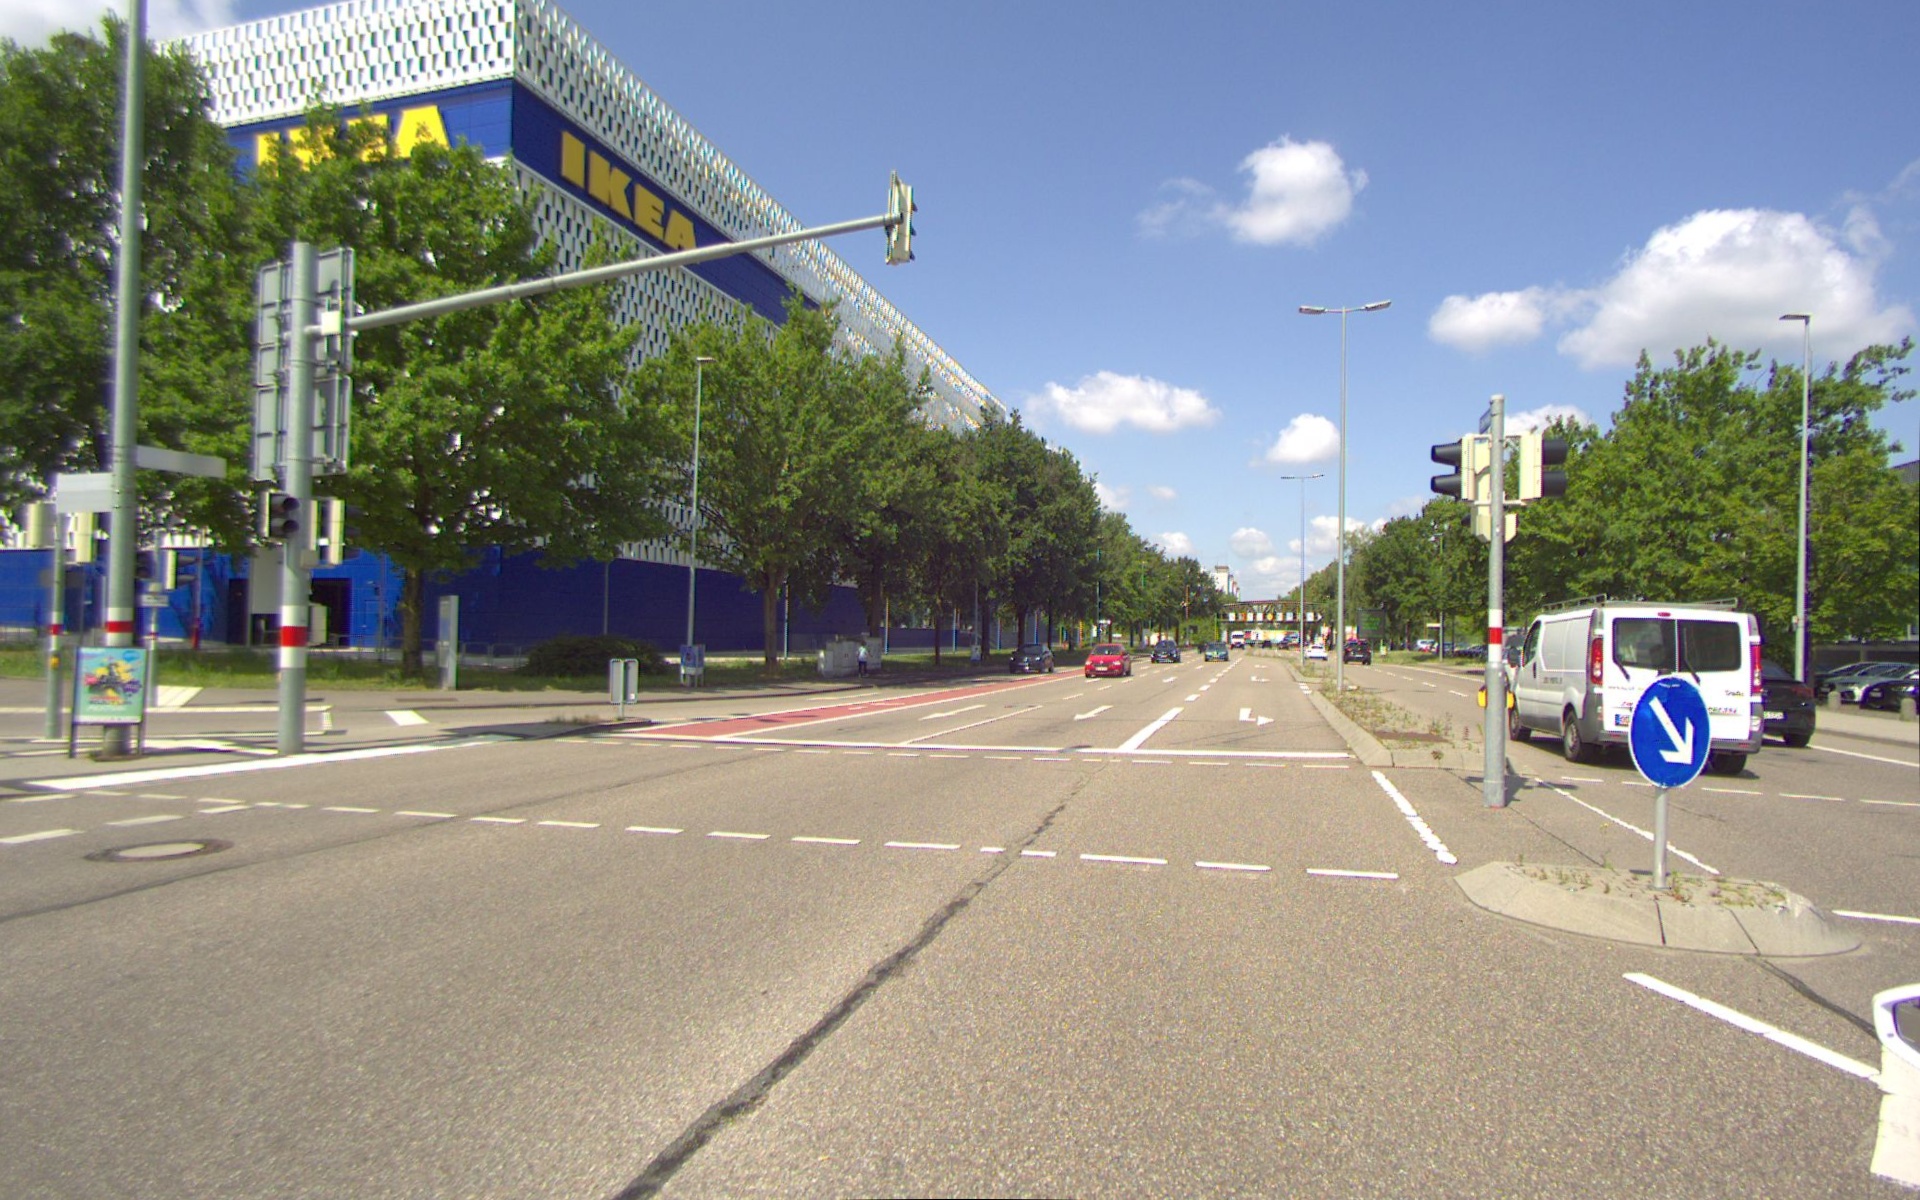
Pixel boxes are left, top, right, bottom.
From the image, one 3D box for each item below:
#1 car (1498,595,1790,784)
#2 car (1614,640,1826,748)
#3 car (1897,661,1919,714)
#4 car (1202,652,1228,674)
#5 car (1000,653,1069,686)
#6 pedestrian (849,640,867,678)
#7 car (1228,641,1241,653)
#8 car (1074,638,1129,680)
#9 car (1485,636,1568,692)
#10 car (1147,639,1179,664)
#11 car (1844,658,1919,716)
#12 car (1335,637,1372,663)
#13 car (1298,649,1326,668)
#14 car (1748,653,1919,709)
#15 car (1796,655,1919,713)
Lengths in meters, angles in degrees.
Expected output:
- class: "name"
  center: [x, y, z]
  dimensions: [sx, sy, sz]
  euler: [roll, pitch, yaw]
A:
- class: "car"
  center: [9.046, 1.056, 13.810]
  dimensions: [1.939, 2.087, 4.566]
  euler: [1, -1, 16]
- class: "car"
  center: [13.982, 1.642, 18.783]
  dimensions: [1.744, 1.651, 4.002]
  euler: [1, -1, 15]
- class: "car"
  center: [26.756, 2.471, 25.028]
  dimensions: [4.499, 1.314, 1.908]
  euler: [5, 1, 17]
- class: "car"
  center: [19.591, 4.820, 76.961]
  dimensions: [1.743, 1.568, 4.824]
  euler: [-1, -3, 16]
- class: "car"
  center: [3.927, 3.563, 52.148]
  dimensions: [1.862, 1.575, 4.581]
  euler: [1, -2, 28]
- class: "pedestrian"
  center: [-4.280, 2.456, 42.161]
  dimensions: [0.494, 1.575, 0.761]
  euler: [1, -2, 17]
- class: "car"
  center: [42.157, 7.194, 154.246]
  dimensions: [1.895, 1.778, 4.824]
  euler: [2, -2, 16]
- class: "car"
  center: [6.405, 2.597, 45.042]
  dimensions: [1.812, 1.622, 4.567]
  euler: [1, -1, 15]
- class: "car"
  center: [19.337, 2.125, 34.454]
  dimensions: [1.742, 1.639, 4.000]
  euler: [2, 0, 19]
- class: "car"
  center: [15.043, 3.802, 74.379]
  dimensions: [1.895, 1.778, 4.824]
  euler: [-1, -3, 16]
- class: "car"
  center: [27.469, 2.513, 27.452]
  dimensions: [4.498, 1.402, 1.908]
  euler: [4, 1, 17]
- class: "car"
  center: [28.004, 3.541, 71.650]
  dimensions: [1.741, 1.639, 4.270]
  euler: [2, 0, 12]
- class: "car"
  center: [31.327, 5.210, 89.551]
  dimensions: [1.823, 1.461, 4.002]
  euler: [2, 0, 12]
- class: "car"
  center: [28.908, 2.642, 32.829]
  dimensions: [4.498, 1.423, 1.908]
  euler: [3, 0, 17]
- class: "car"
  center: [28.299, 2.603, 30.115]
  dimensions: [4.498, 1.423, 1.908]
  euler: [5, 1, 17]
